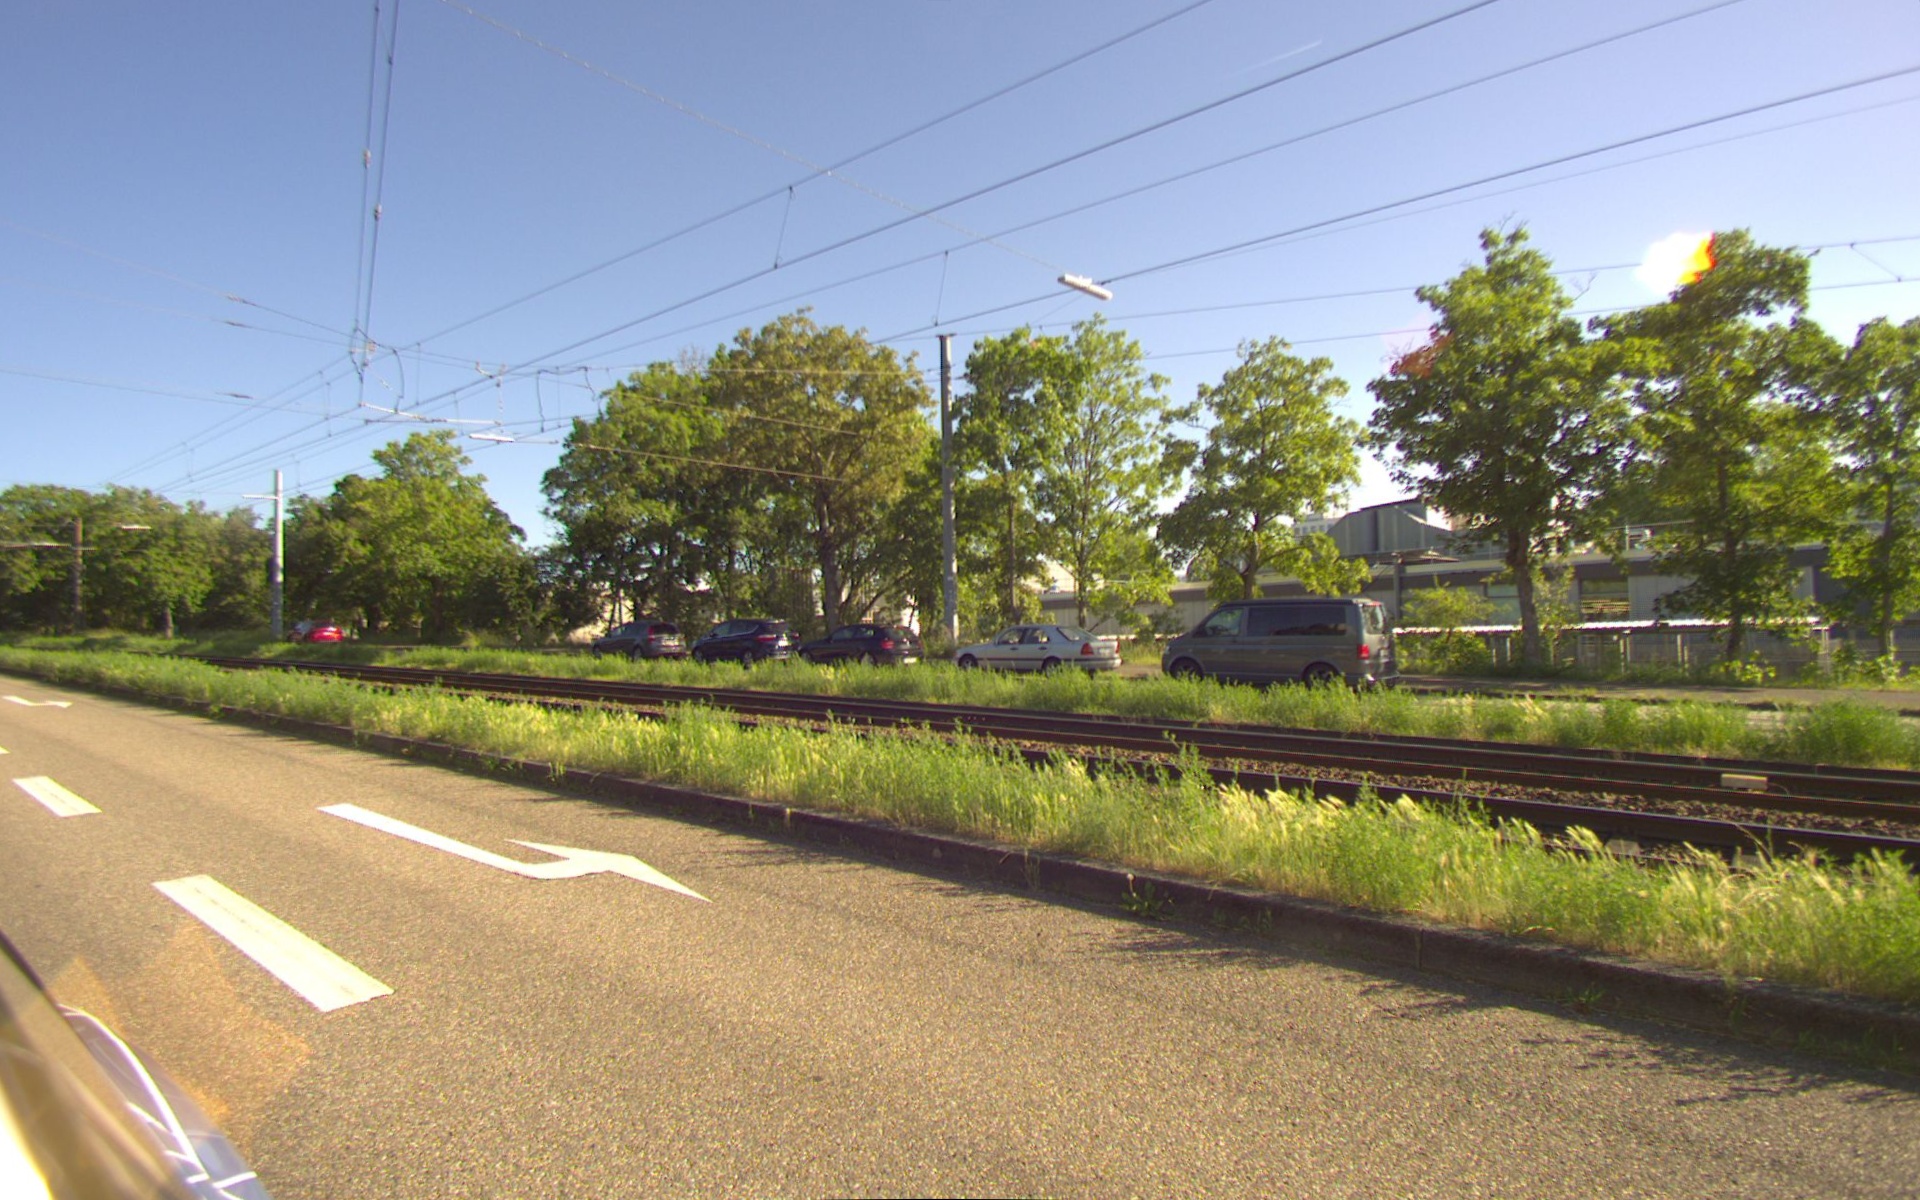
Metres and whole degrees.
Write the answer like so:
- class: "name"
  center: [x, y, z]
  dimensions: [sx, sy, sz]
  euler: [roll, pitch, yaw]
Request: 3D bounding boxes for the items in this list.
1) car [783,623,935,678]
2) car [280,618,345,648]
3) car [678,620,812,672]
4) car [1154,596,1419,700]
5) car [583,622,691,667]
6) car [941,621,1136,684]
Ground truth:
- class: "car"
  center: [-3.007, 1.452, 29.698]
  dimensions: [4.412, 1.448, 1.973]
  euler: [-2, -2, 41]
- class: "car"
  center: [-37.999, 1.933, 59.332]
  dimensions: [4.463, 1.715, 1.984]
  euler: [-2, -2, 40]
- class: "car"
  center: [-7.083, 1.480, 33.175]
  dimensions: [4.431, 1.586, 1.974]
  euler: [-2, -2, 40]
- class: "car"
  center: [6.712, 0.955, 21.168]
  dimensions: [4.791, 1.905, 2.173]
  euler: [-2, -2, 43]
- class: "car"
  center: [-12.035, 1.608, 37.591]
  dimensions: [4.323, 1.505, 1.718]
  euler: [-1, 0, 39]
- class: "car"
  center: [1.899, 1.288, 25.557]
  dimensions: [4.692, 1.448, 1.908]
  euler: [-2, -2, 41]
